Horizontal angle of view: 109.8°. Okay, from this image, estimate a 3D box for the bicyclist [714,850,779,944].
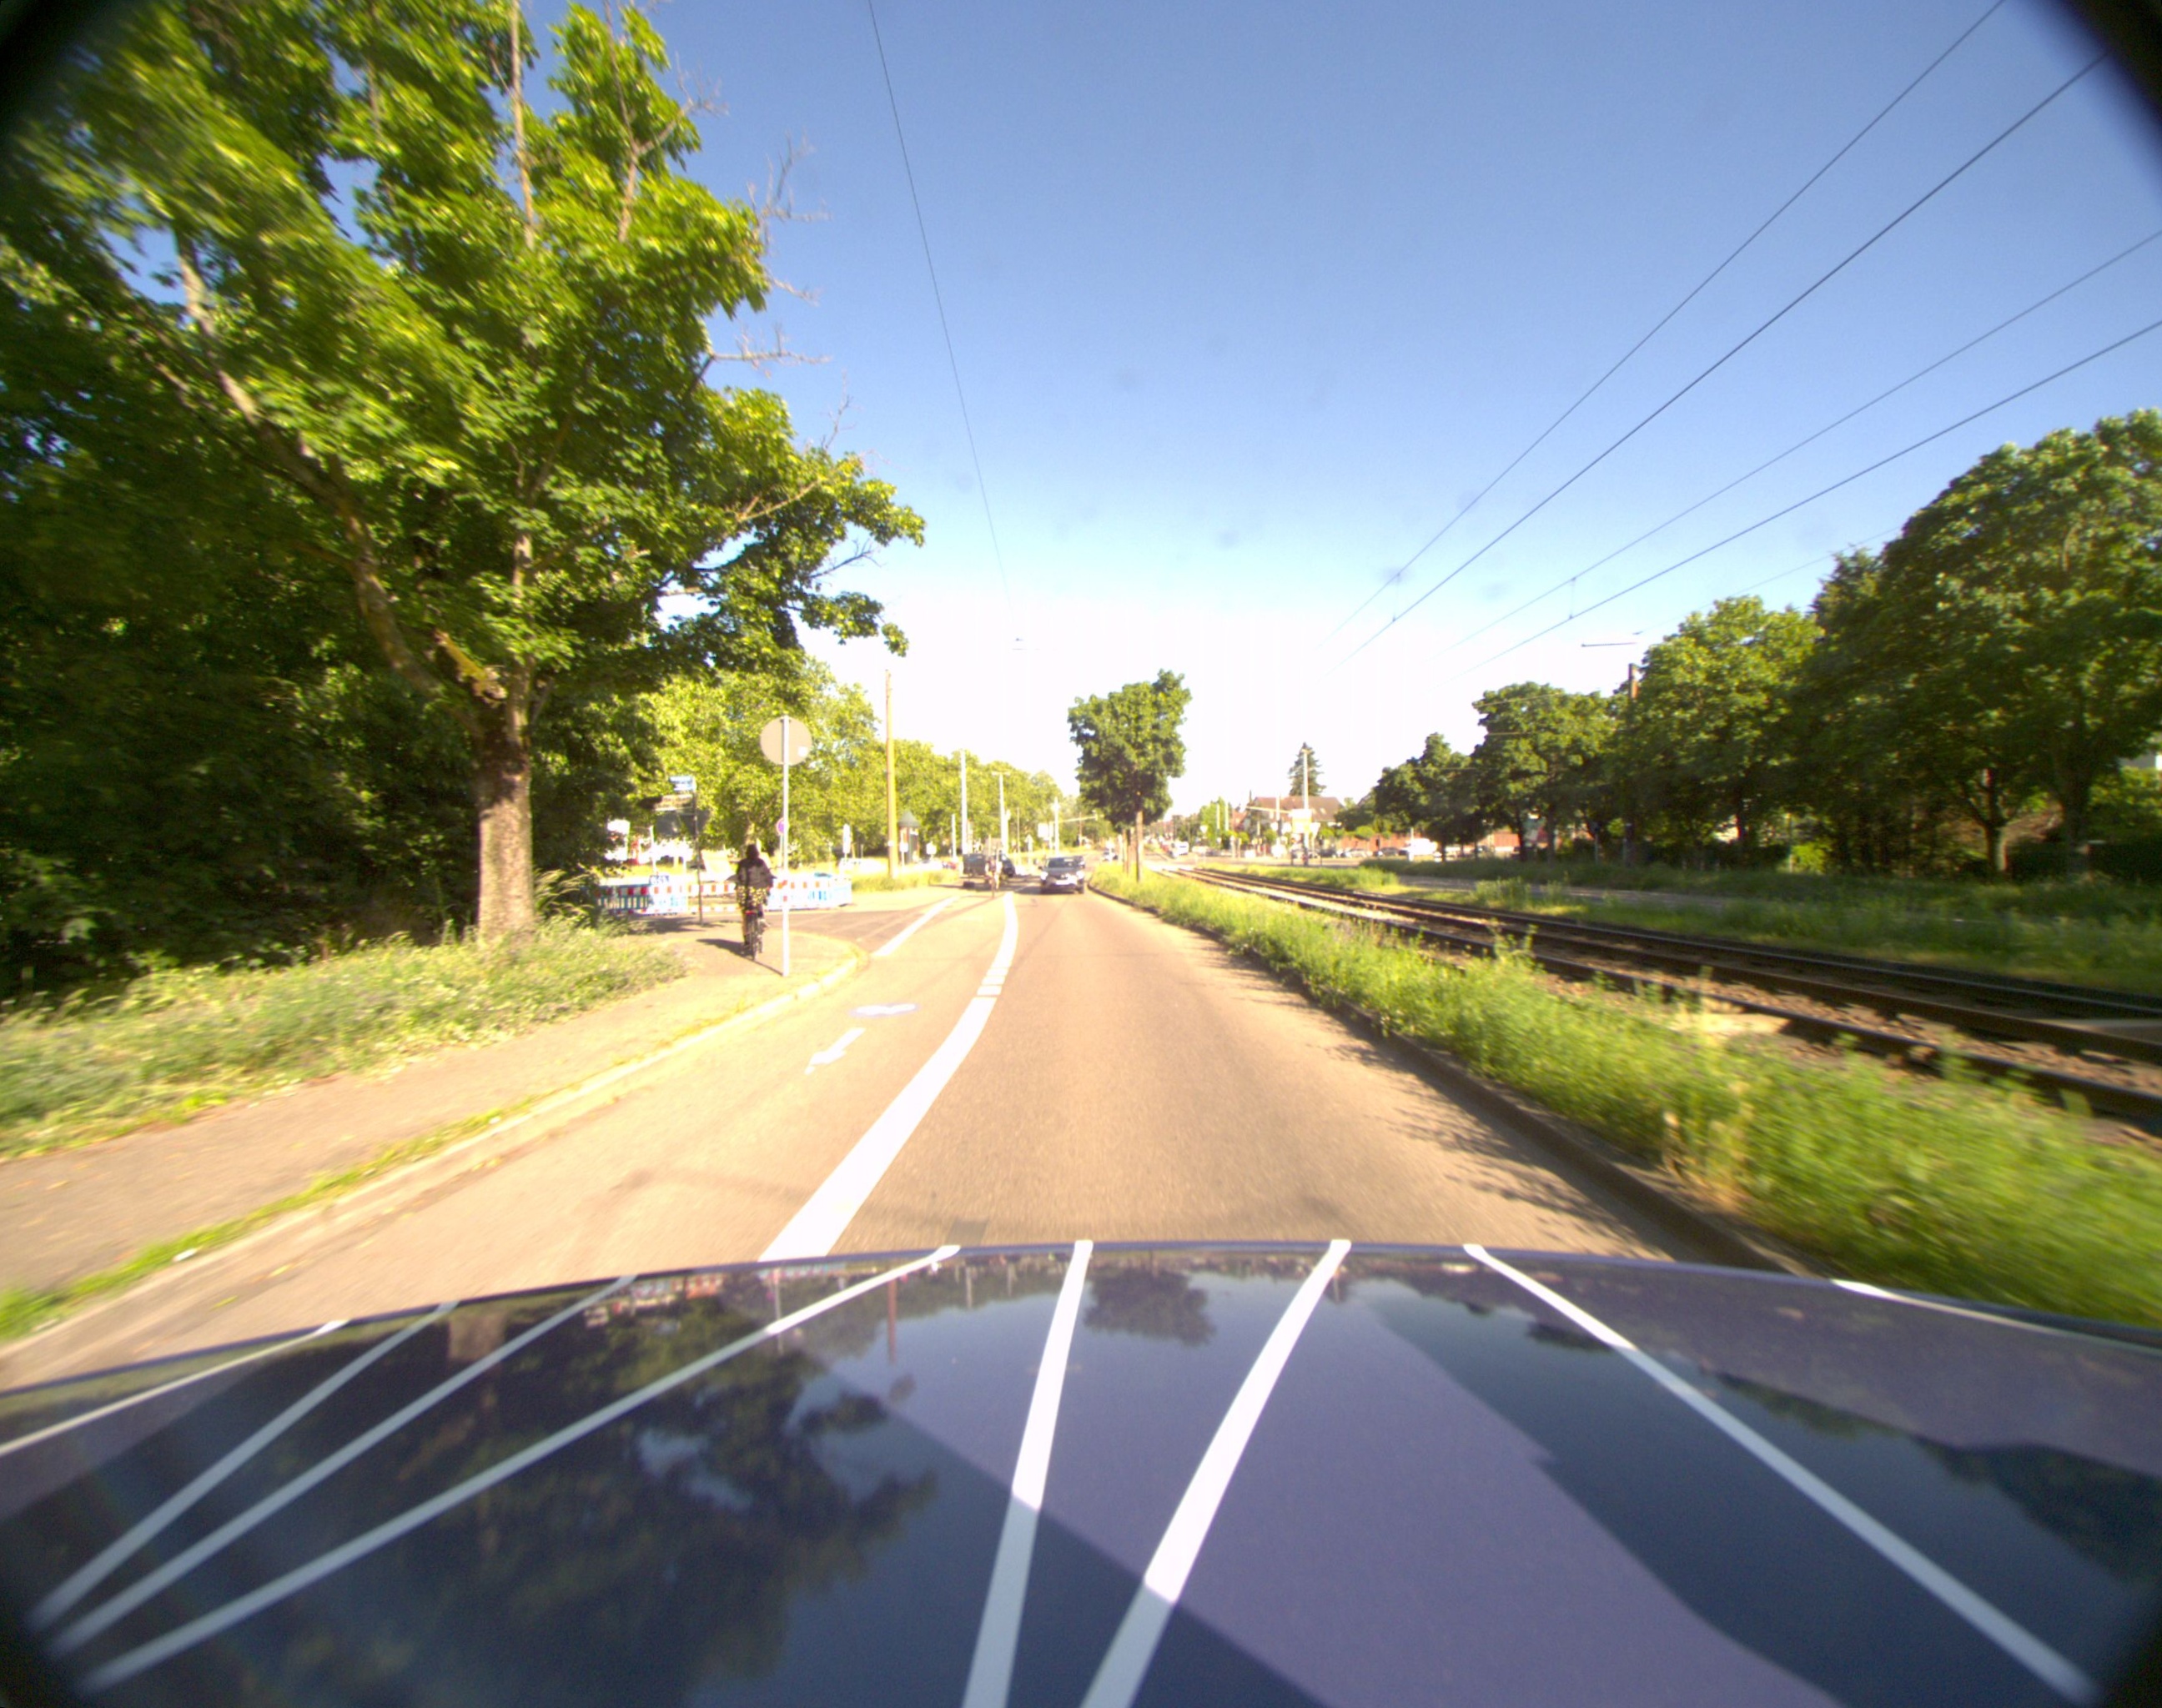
[{"bbox_3d":[-5.035,0.632,11.473,0.758,1.360,0.805,0,0,-13],"label":"bicyclist"}]

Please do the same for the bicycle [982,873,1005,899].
[{"bbox_3d":[-3.511,1.289,30.730,0.525,0.918,2.089,0,1,4],"label":"bicycle"}]

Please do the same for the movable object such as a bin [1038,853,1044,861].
[{"bbox_3d":[-5.565,0.377,105.351,0.911,1.062,1.316,-1,1,-3],"label":"movable object such as a bin"}]

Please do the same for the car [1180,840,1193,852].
[{"bbox_3d":[21.249,-1.612,152.875,2.345,2.444,6.875,0,1,11],"label":"car"}]

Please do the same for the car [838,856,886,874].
[{"bbox_3d":[-21.747,1.094,75.370,4.281,1.668,1.930,-1,0,-24],"label":"car"}]

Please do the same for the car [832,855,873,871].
[{"bbox_3d":[-24.435,0.952,81.384,4.005,1.608,1.996,0,0,-24],"label":"car"}]

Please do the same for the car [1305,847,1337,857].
[{"bbox_3d":[35.154,-0.321,111.137,4.253,1.458,1.934,-1,1,-24],"label":"car"}]

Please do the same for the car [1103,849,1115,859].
[{"bbox_3d":[4.491,-0.001,123.210,1.881,1.519,4.421,0,1,3],"label":"car"}]

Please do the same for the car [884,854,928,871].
[{"bbox_3d":[-19.364,0.962,84.161,4.500,1.702,1.917,-1,2,-24],"label":"car"}]

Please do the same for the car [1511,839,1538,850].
[{"bbox_3d":[73.382,-1.639,125.753,4.005,1.732,1.804,-1,1,-25],"label":"car"}]

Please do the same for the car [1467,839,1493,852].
[{"bbox_3d":[67.007,-1.417,127.589,4.005,2.002,1.804,-1,2,-25],"label":"car"}]

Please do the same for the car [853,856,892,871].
[{"bbox_3d":[-21.872,0.982,79.691,3.864,1.591,1.710,0,0,-20],"label":"car"}]

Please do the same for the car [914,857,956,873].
[{"bbox_3d":[-15.004,1.089,77.937,3.865,1.591,1.709,-1,0,-26],"label":"car"}]

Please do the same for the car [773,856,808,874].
[{"bbox_3d":[-29.156,1.122,76.251,3.213,1.608,1.369,-1,5,-24],"label":"car"}]

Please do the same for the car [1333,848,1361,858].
[{"bbox_3d":[41.085,-0.231,117.357,4.005,1.469,1.669,-1,2,-24],"label":"car"}]

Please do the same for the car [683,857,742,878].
[{"bbox_3d":[-34.383,1.228,71.016,4.781,1.673,1.905,-3,2,-23],"label":"car"}]

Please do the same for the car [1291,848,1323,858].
[{"bbox_3d":[33.826,-0.188,113.939,4.641,1.469,1.669,-1,2,-24],"label":"car"}]

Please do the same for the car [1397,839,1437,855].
[{"bbox_3d":[51.948,-1.078,117.406,5.928,2.397,2.176,-1,2,-22],"label":"car"}]

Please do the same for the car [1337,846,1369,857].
[{"bbox_3d":[40.420,-0.384,113.002,4.264,1.458,1.934,-1,1,-24],"label":"car"}]

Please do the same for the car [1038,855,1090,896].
[{"bbox_3d":[-0.655,0.875,32.148,1.838,1.542,3.816,0,1,4],"label":"car"}]

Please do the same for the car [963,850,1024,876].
[{"bbox_3d":[-7.538,0.731,65.306,5.104,2.058,2.135,0,2,38],"label":"car"}]

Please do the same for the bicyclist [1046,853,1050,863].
[{"bbox_3d":[-4.592,0.521,106.355,0.511,1.333,0.565,-1,2,-3],"label":"bicyclist"}]

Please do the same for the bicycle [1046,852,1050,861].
[{"bbox_3d":[-4.624,0.362,106.932,0.468,1.112,1.819,-1,1,-3],"label":"bicycle"}]

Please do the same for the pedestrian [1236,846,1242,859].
[{"bbox_3d":[24.057,-0.181,115.618,0.612,1.937,0.774,-2,2,-40],"label":"pedestrian"}]

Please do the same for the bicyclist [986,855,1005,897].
[{"bbox_3d":[-3.428,0.873,30.504,0.616,1.670,0.933,0,1,3],"label":"bicyclist"}]

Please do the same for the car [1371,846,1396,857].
[{"bbox_3d":[45.693,-0.403,114.804,3.531,1.559,1.494,-1,1,-22],"label":"car"}]

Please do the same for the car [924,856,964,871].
[{"bbox_3d":[-14.846,1.003,82.346,4.094,1.591,1.813,-1,0,-20],"label":"car"}]

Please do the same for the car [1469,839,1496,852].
[{"bbox_3d":[65.099,-1.353,123.182,4.005,2.002,1.804,-1,2,-25],"label":"car"}]

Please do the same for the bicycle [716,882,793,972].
[{"bbox_3d":[-4.978,1.060,11.744,0.621,1.183,2.503,4,-2,-14],"label":"bicycle"}]
